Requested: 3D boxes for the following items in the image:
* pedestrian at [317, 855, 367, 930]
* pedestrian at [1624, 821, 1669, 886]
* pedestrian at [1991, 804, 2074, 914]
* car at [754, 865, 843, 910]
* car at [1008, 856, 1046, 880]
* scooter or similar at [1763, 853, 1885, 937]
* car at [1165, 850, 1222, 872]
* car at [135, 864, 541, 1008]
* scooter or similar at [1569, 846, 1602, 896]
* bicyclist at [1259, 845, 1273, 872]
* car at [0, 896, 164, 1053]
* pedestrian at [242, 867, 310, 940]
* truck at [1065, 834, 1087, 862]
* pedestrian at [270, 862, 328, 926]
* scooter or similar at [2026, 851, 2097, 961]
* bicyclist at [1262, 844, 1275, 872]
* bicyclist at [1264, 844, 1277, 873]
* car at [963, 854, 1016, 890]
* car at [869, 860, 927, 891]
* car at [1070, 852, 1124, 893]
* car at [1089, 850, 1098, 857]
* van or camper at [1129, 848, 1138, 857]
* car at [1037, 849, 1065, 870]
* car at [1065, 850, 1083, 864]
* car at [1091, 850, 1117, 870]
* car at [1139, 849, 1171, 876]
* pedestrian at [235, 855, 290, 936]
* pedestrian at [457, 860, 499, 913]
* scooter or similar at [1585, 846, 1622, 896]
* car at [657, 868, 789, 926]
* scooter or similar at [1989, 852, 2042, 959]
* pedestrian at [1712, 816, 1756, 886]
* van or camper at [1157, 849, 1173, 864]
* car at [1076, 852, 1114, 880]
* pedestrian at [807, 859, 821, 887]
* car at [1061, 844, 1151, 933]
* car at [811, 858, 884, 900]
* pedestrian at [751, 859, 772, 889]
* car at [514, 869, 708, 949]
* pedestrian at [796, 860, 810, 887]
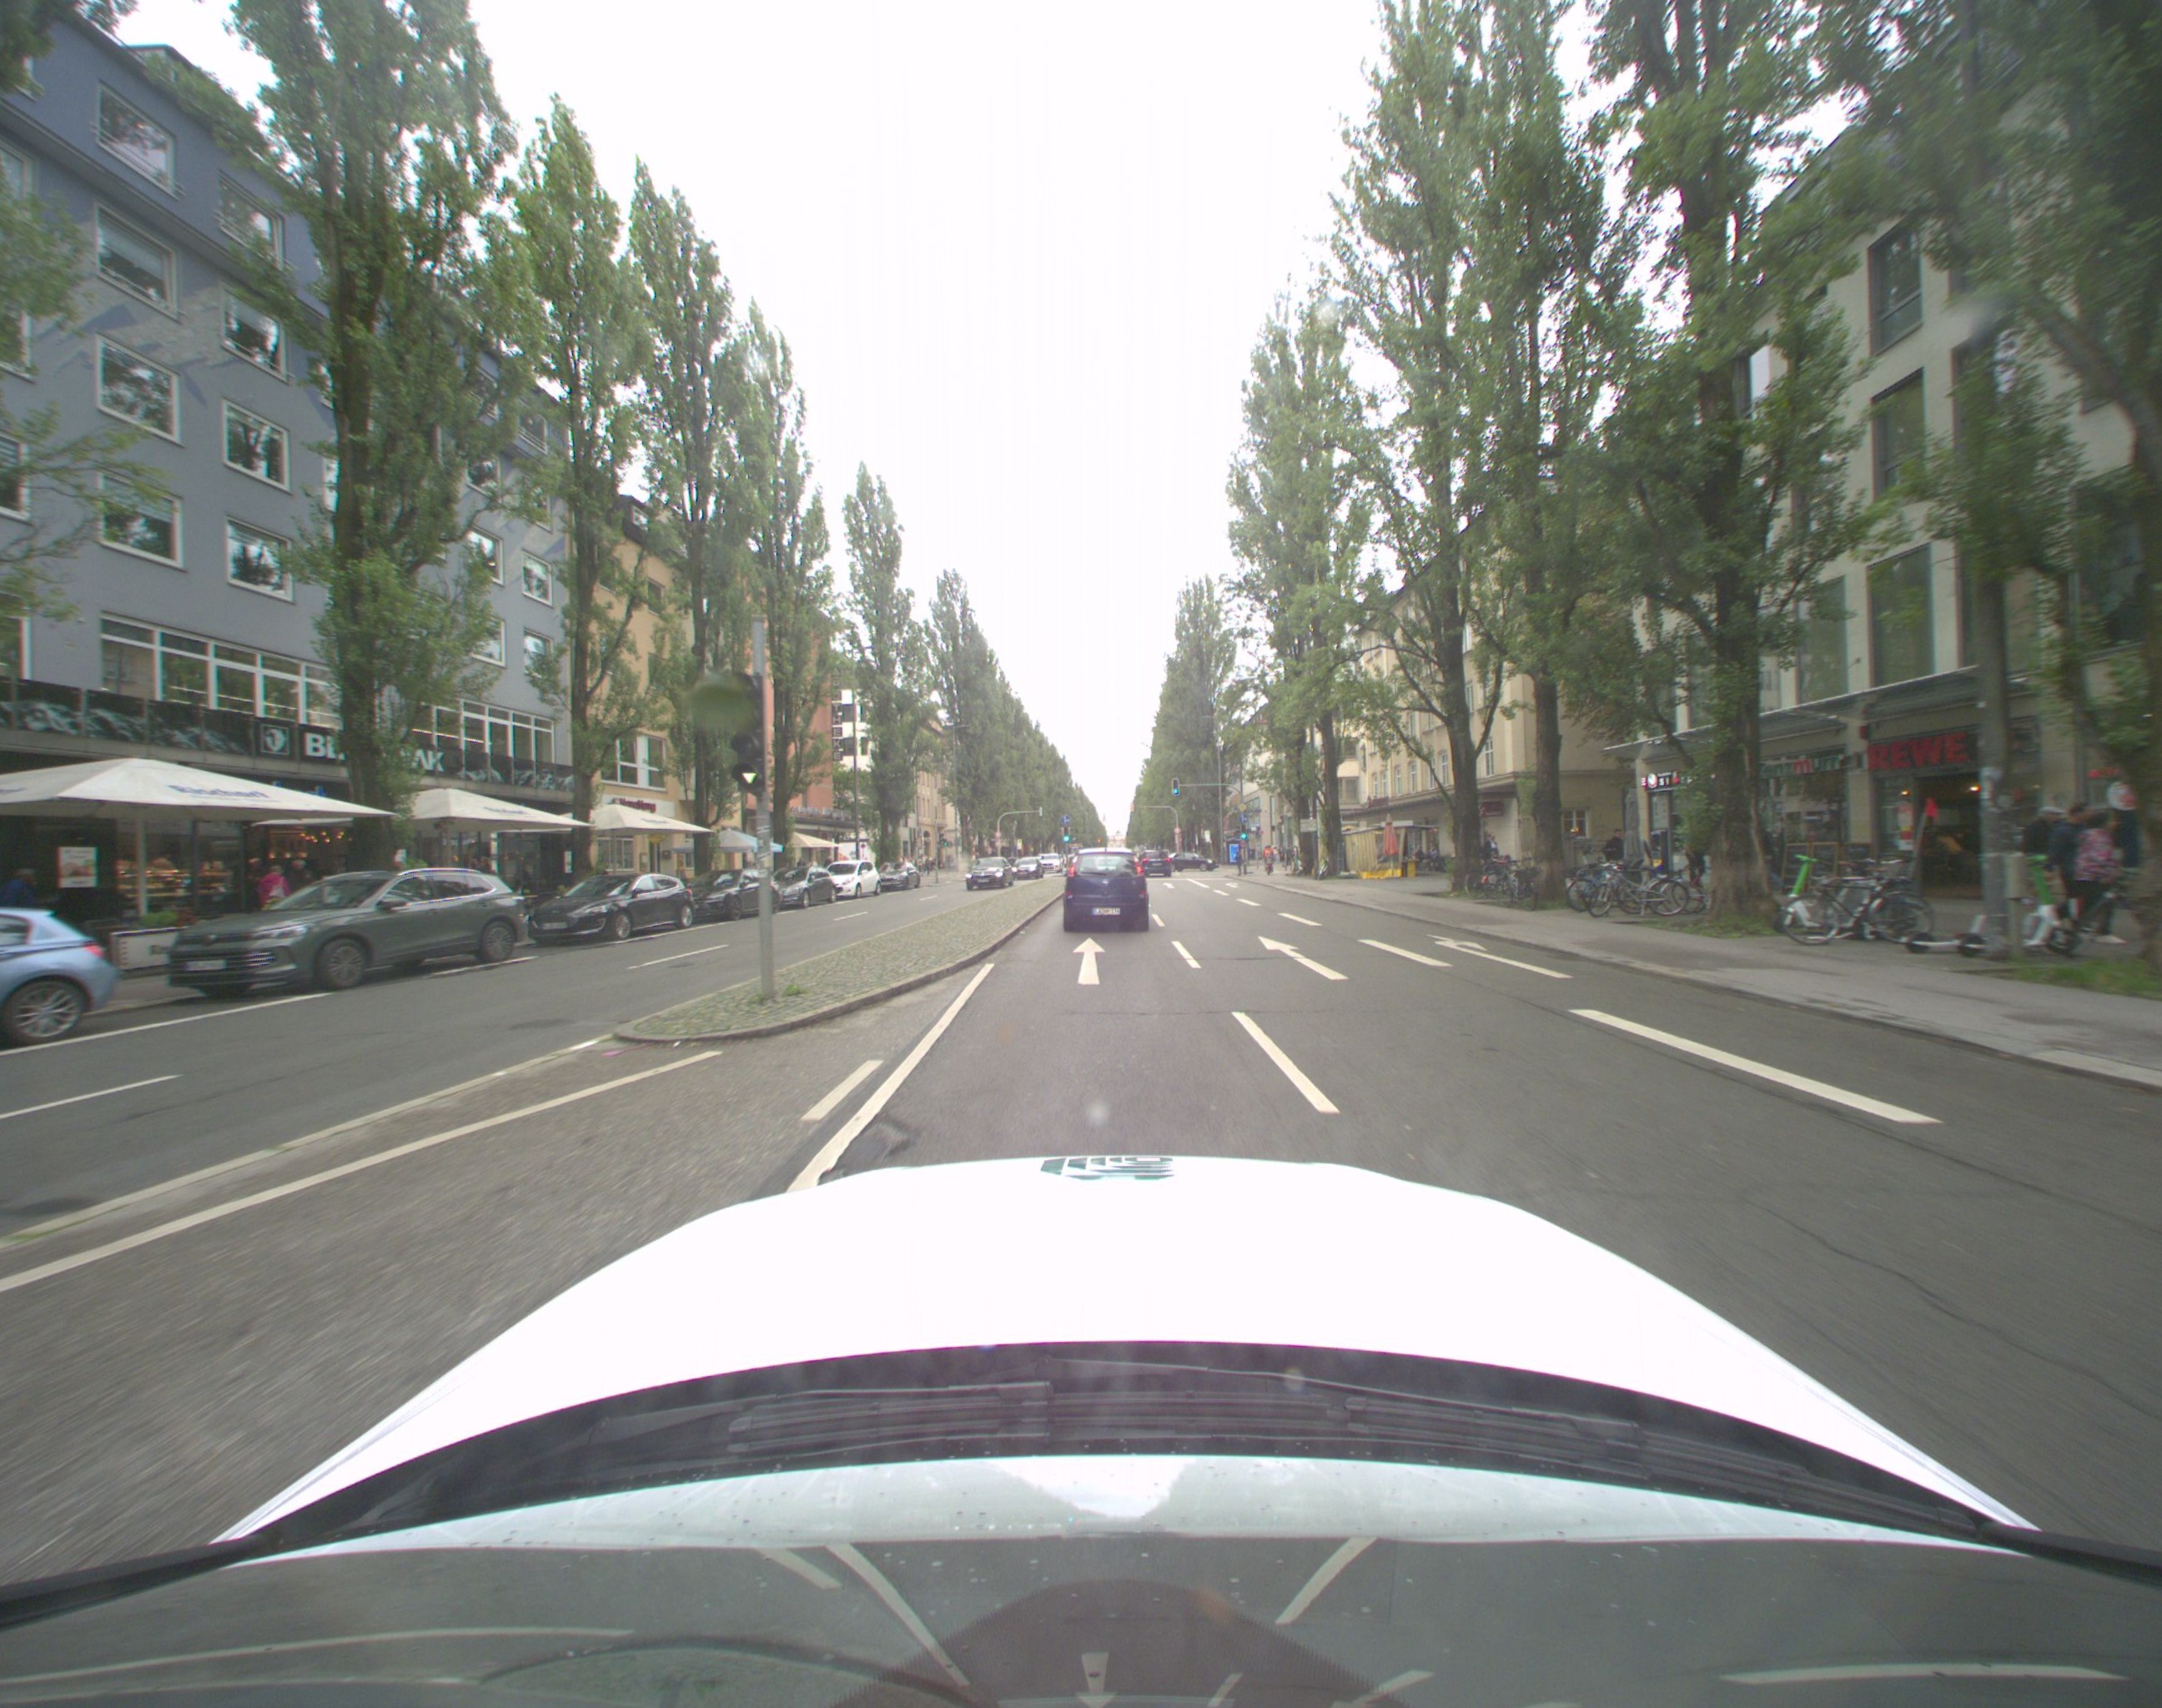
[{"bbox_3d":[-22.398,1.157,24.683,0.777,2.211,0.732,-2,0,2],"label":"pedestrian"},{"bbox_3d":[16.202,-0.008,23.345,0.739,1.814,0.757,-2,0,6],"label":"pedestrian"},{"bbox_3d":[15.693,0.081,13.444,0.591,1.767,0.641,-1,0,0],"label":"pedestrian"},{"bbox_3d":[-9.964,1.142,29.052,1.488,1.381,4.189,-3,0,2],"label":"car"},{"bbox_3d":[-3.391,0.844,51.544,1.829,1.361,4.179,-4,0,3],"label":"car"},{"bbox_3d":[10.810,0.586,11.893,1.228,1.169,0.406,-2,-1,32],"label":"scooter or similar"},{"bbox_3d":[8.678,0.539,62.995,3.948,1.461,1.770,-4,-1,30],"label":"car"},{"bbox_3d":[-10.878,1.063,12.534,1.772,1.680,4.591,-3,0,4],"label":"car"},{"bbox_3d":[13.292,0.442,21.480,0.246,1.273,1.037,-2,0,3],"label":"scooter or similar"},{"bbox_3d":[10.848,0.258,47.704,0.619,1.588,0.753,-2,0,2],"label":"bicyclist"},{"bbox_3d":[-11.074,1.204,6.837,1.652,1.418,4.402,-3,0,1],"label":"car"},{"bbox_3d":[-18.277,1.108,18.510,0.737,1.601,0.757,-2,0,4],"label":"pedestrian"},{"bbox_3d":[-0.633,-0.779,111.956,2.453,3.670,8.445,-2,0,3],"label":"truck"},{"bbox_3d":[-20.462,1.040,21.313,0.751,1.601,0.743,-2,0,1],"label":"pedestrian"},{"bbox_3d":[11.084,0.559,9.230,0.303,1.169,1.252,-1,-1,41],"label":"scooter or similar"},{"bbox_3d":[10.826,0.253,46.996,0.619,1.588,0.481,-2,0,2],"label":"bicyclist"},{"bbox_3d":[10.810,0.251,46.547,0.619,1.588,0.392,-2,0,1],"label":"bicyclist"},{"bbox_3d":[-4.226,0.815,38.130,1.750,1.465,4.052,-3,0,2],"label":"car"},{"bbox_3d":[-9.330,1.075,41.906,1.696,1.438,4.593,-3,0,2],"label":"car"},{"bbox_3d":[0.677,0.686,32.993,1.986,1.497,4.002,-2,0,2],"label":"car"},{"bbox_3d":[3.097,-0.225,201.037,1.906,1.680,4.589,-1,0,2],"label":"car"},{"bbox_3d":[15.635,-0.359,243.777,2.466,2.581,5.849,-2,0,3],"label":"van or camper"},{"bbox_3d":[-2.532,0.437,69.303,1.836,1.636,4.579,-3,0,3],"label":"car"},{"bbox_3d":[-0.786,0.366,94.988,1.836,1.501,4.989,-2,0,2],"label":"car"},{"bbox_3d":[1.872,0.479,65.049,1.986,1.497,4.002,-1,0,2],"label":"car"},{"bbox_3d":[4.547,0.514,50.501,1.699,1.574,4.002,-2,0,2],"label":"car"},{"bbox_3d":[-22.950,1.149,22.847,0.777,2.211,0.692,-2,0,2],"label":"pedestrian"},{"bbox_3d":[-19.376,1.028,26.176,0.737,1.641,0.757,-2,0,4],"label":"pedestrian"},{"bbox_3d":[13.721,0.424,21.398,0.329,1.273,1.037,-2,0,3],"label":"scooter or similar"},{"bbox_3d":[-10.306,1.172,23.848,1.696,1.412,4.436,-3,0,2],"label":"car"},{"bbox_3d":[10.815,0.562,9.437,0.282,1.169,1.251,-1,-1,44],"label":"scooter or similar"},{"bbox_3d":[16.974,-0.075,21.168,0.562,1.784,0.674,-2,0,4],"label":"pedestrian"},{"bbox_3d":[11.018,0.329,107.173,1.861,1.883,4.906,-1,0,2],"label":"van or camper"},{"bbox_3d":[0.797,0.630,45.516,1.986,1.497,4.002,-1,0,2],"label":"car"},{"bbox_3d":[-16.599,1.179,50.653,0.552,1.717,0.692,-2,0,2],"label":"pedestrian"},{"bbox_3d":[0.529,0.641,17.270,1.675,1.641,4.002,-1,0,2],"label":"car"},{"bbox_3d":[-9.780,1.024,34.443,1.696,1.583,4.098,-3,-1,2],"label":"car"},{"bbox_3d":[-17.921,1.126,45.710,0.777,1.668,0.802,-2,0,2],"label":"pedestrian"},{"bbox_3d":[-10.474,1.142,18.578,1.670,1.466,4.373,-3,0,2],"label":"car"},{"bbox_3d":[-17.211,1.195,50.351,0.552,1.638,0.692,-2,0,2],"label":"pedestrian"}]
